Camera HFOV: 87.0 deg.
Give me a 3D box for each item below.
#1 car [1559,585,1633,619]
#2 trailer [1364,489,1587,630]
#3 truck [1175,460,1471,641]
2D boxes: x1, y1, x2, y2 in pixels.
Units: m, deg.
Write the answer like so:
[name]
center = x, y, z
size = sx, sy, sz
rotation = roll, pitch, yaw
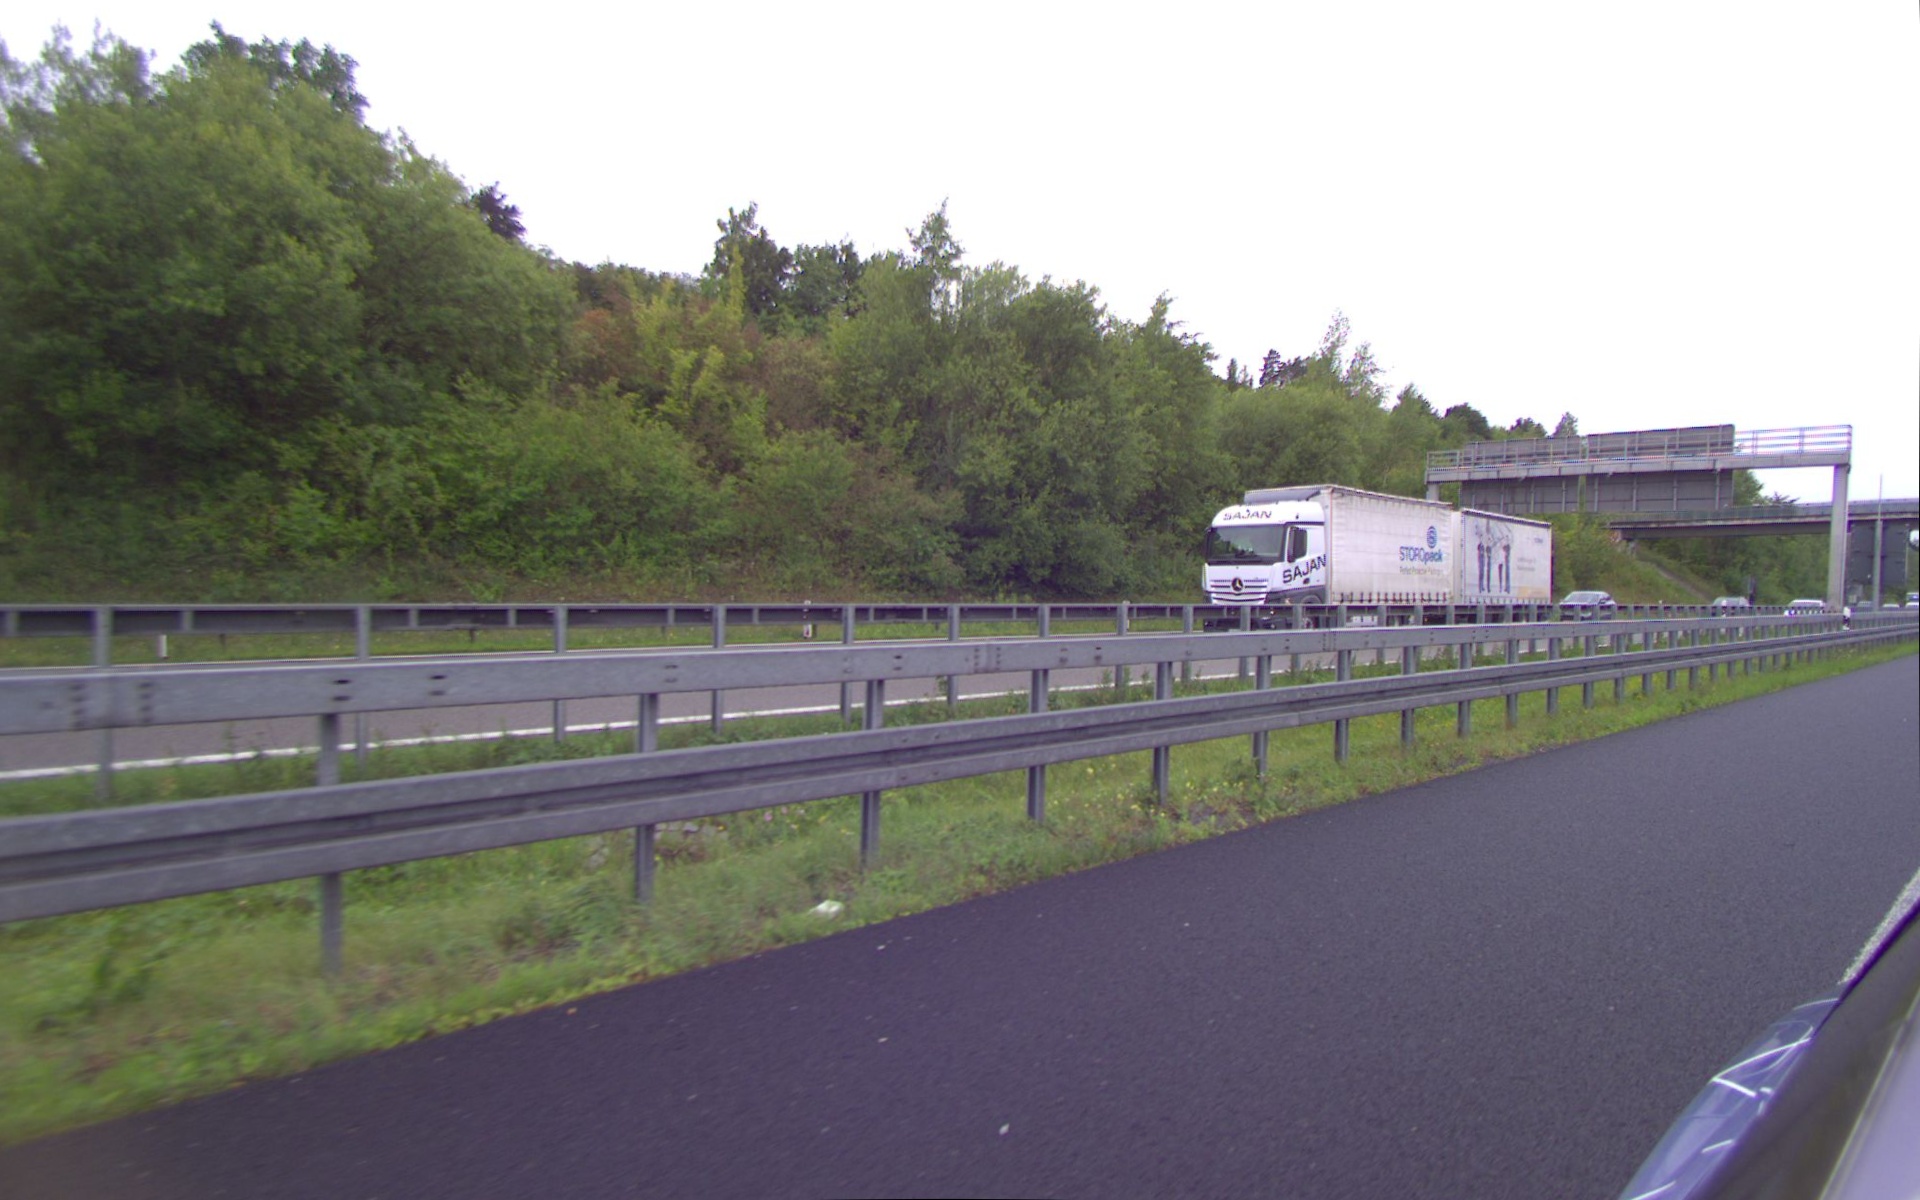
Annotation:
[car]
center = 32.110, 0.056, 51.034
size = 4.419, 1.634, 1.864
rotation = 0, 1, -40
[trailer]
center = 18.464, -1.289, 35.834
size = 10.271, 4.343, 3.443
rotation = 0, 1, -41
[truck]
center = 10.715, -1.242, 29.056
size = 10.236, 4.343, 3.443
rotation = 0, 1, -41
